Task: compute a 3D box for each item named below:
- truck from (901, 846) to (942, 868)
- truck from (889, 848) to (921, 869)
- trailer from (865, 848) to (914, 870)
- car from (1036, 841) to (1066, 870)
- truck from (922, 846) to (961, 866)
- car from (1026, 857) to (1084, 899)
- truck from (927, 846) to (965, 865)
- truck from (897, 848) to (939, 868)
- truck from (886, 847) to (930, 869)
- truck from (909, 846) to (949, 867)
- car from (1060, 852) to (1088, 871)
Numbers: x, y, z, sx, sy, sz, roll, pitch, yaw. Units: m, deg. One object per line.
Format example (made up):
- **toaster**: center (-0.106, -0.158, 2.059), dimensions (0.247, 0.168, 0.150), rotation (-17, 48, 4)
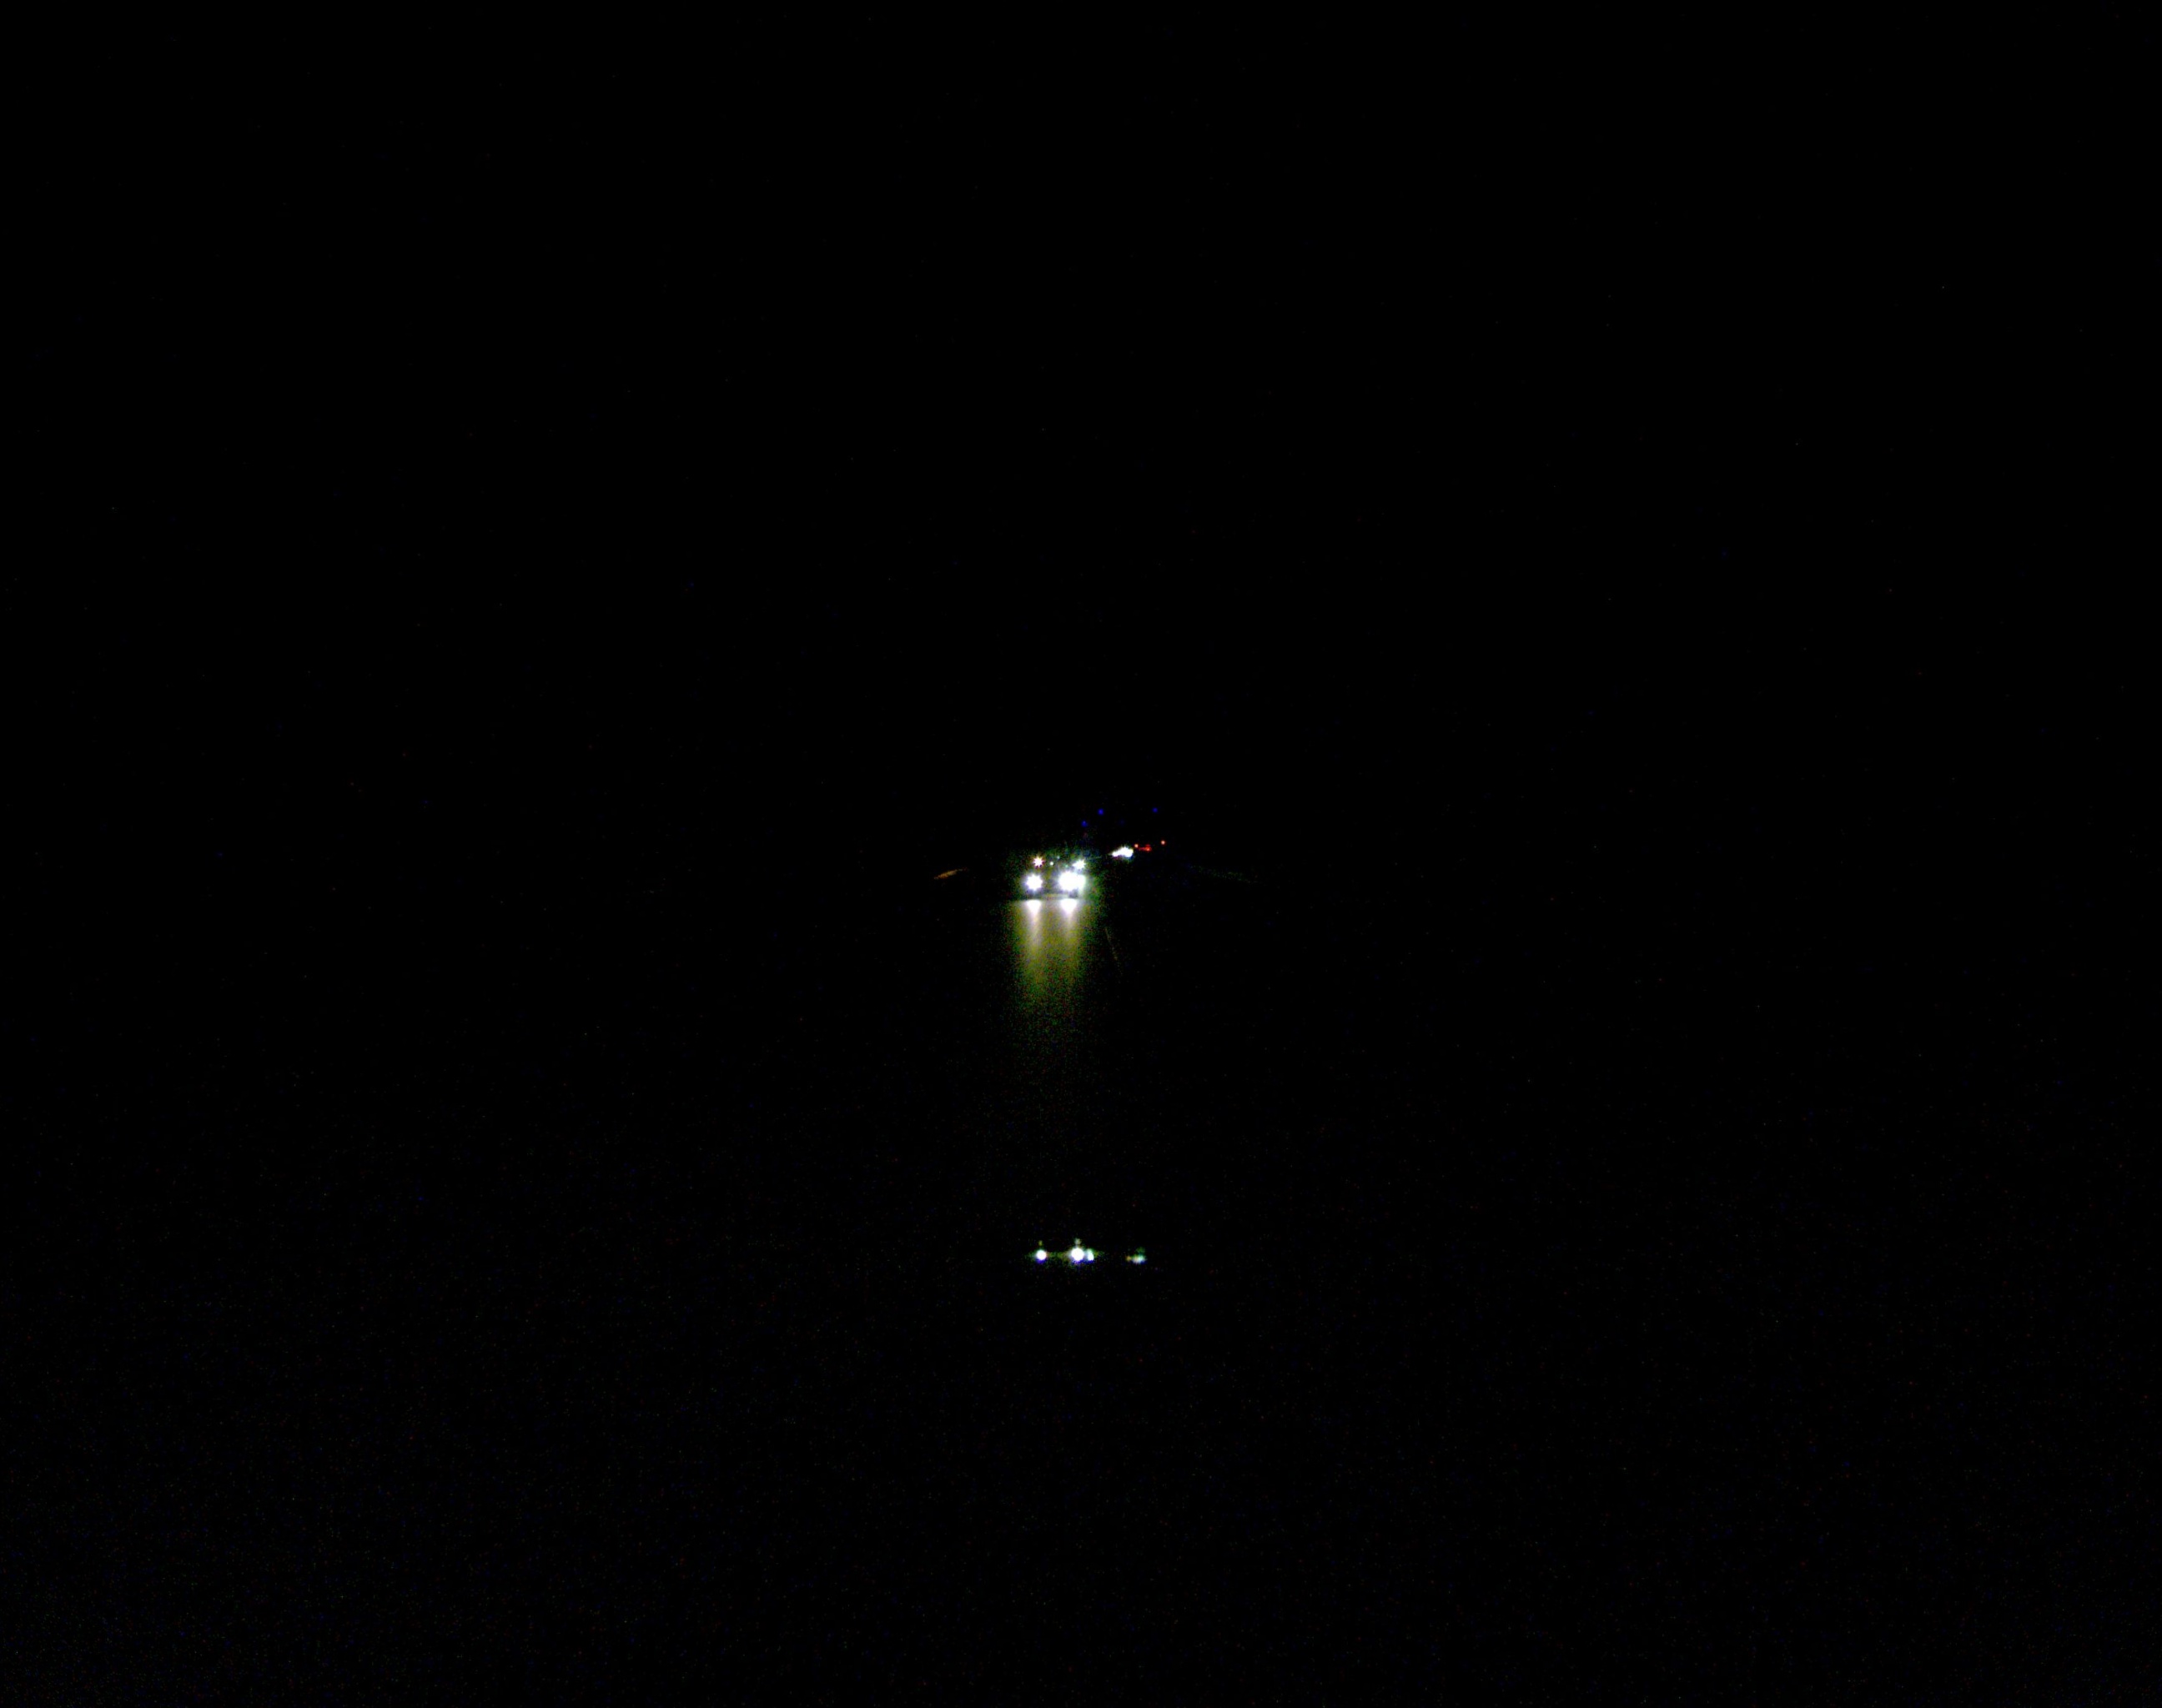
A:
- **truck**: center (-32.544, 0.636, 154.529), dimensions (9.637, 3.902, 3.066), rotation (-2, 1, 44)
- **truck**: center (-31.843, 0.858, 137.304), dimensions (2.537, 3.628, 6.193), rotation (-4, 1, -43)
- **trailer**: center (-35.818, 0.974, 141.524), dimensions (2.547, 3.644, 12.962), rotation (-4, 1, -44)
- **car**: center (-3.187, 0.160, 82.089), dimensions (2.533, 2.888, 6.228), rotation (-2, 0, 3)
- **truck**: center (-29.944, 0.395, 162.896), dimensions (9.637, 3.902, 2.965), rotation (-2, 1, 44)
- **car**: center (-0.924, 0.867, 29.463), dimensions (1.832, 1.404, 4.001), rotation (-2, 0, 3)
- **truck**: center (-29.836, 0.334, 167.469), dimensions (9.637, 3.902, 3.066), rotation (-2, 1, 44)
- **truck**: center (-31.888, 0.792, 148.563), dimensions (9.637, 3.667, 3.066), rotation (-2, 1, 44)
- **truck**: center (-32.806, 0.780, 143.853), dimensions (9.637, 3.902, 3.066), rotation (-2, 1, 44)
- **truck**: center (-32.120, 0.547, 160.008), dimensions (9.637, 3.902, 3.066), rotation (-2, 1, 44)
- **car**: center (-0.569, 0.608, 64.111), dimensions (1.998, 1.455, 4.001), rotation (-2, 0, 3)
